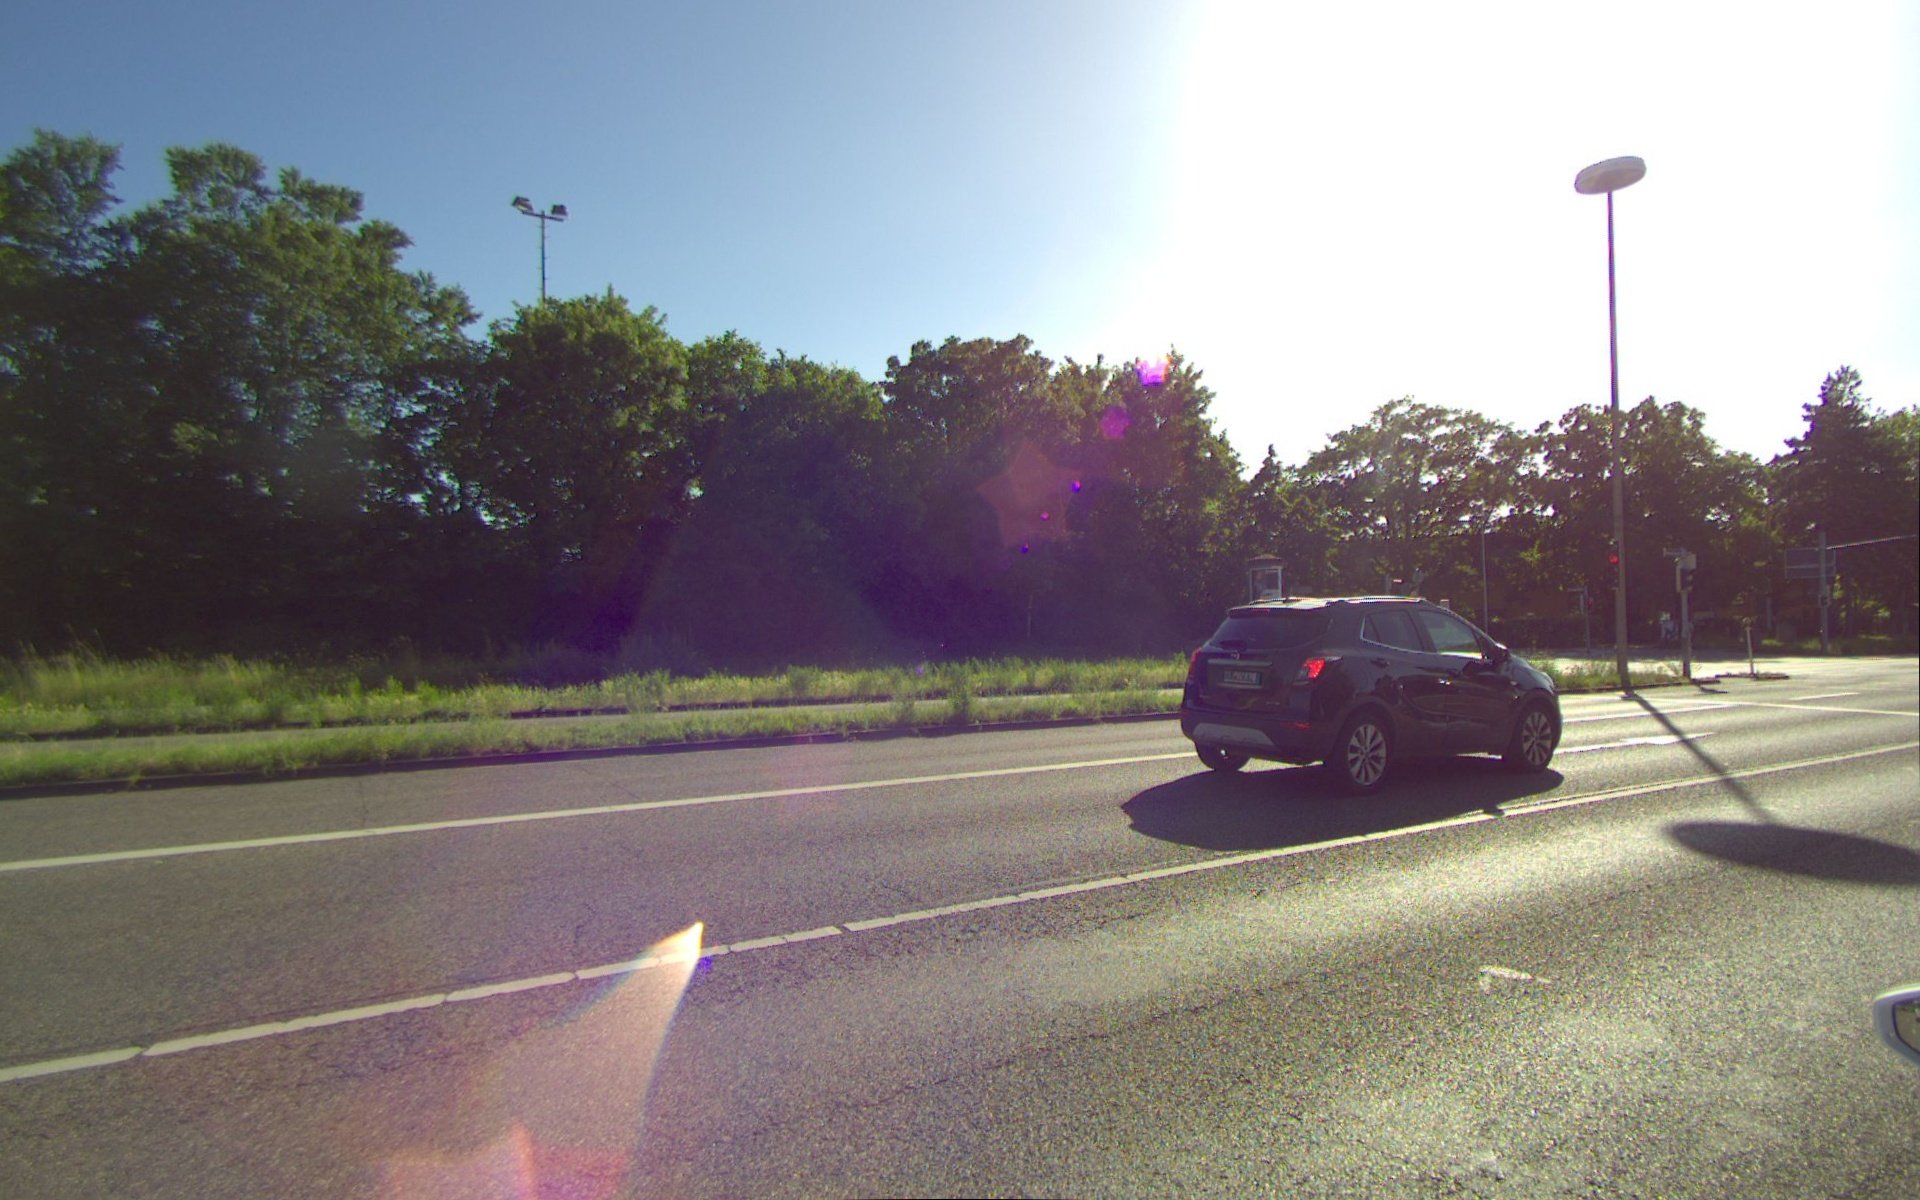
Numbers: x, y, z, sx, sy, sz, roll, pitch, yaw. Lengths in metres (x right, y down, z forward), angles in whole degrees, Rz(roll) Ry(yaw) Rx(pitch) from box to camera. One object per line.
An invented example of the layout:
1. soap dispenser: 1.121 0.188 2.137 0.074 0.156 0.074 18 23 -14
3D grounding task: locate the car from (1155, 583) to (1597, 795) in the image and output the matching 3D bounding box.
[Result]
1. car: 4.109 0.748 9.712 4.366 1.653 1.687 1 -2 -31

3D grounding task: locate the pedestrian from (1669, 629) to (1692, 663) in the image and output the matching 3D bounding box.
1. pedestrian: 40.100 2.537 55.896 0.542 1.859 0.843 0 -2 -26
